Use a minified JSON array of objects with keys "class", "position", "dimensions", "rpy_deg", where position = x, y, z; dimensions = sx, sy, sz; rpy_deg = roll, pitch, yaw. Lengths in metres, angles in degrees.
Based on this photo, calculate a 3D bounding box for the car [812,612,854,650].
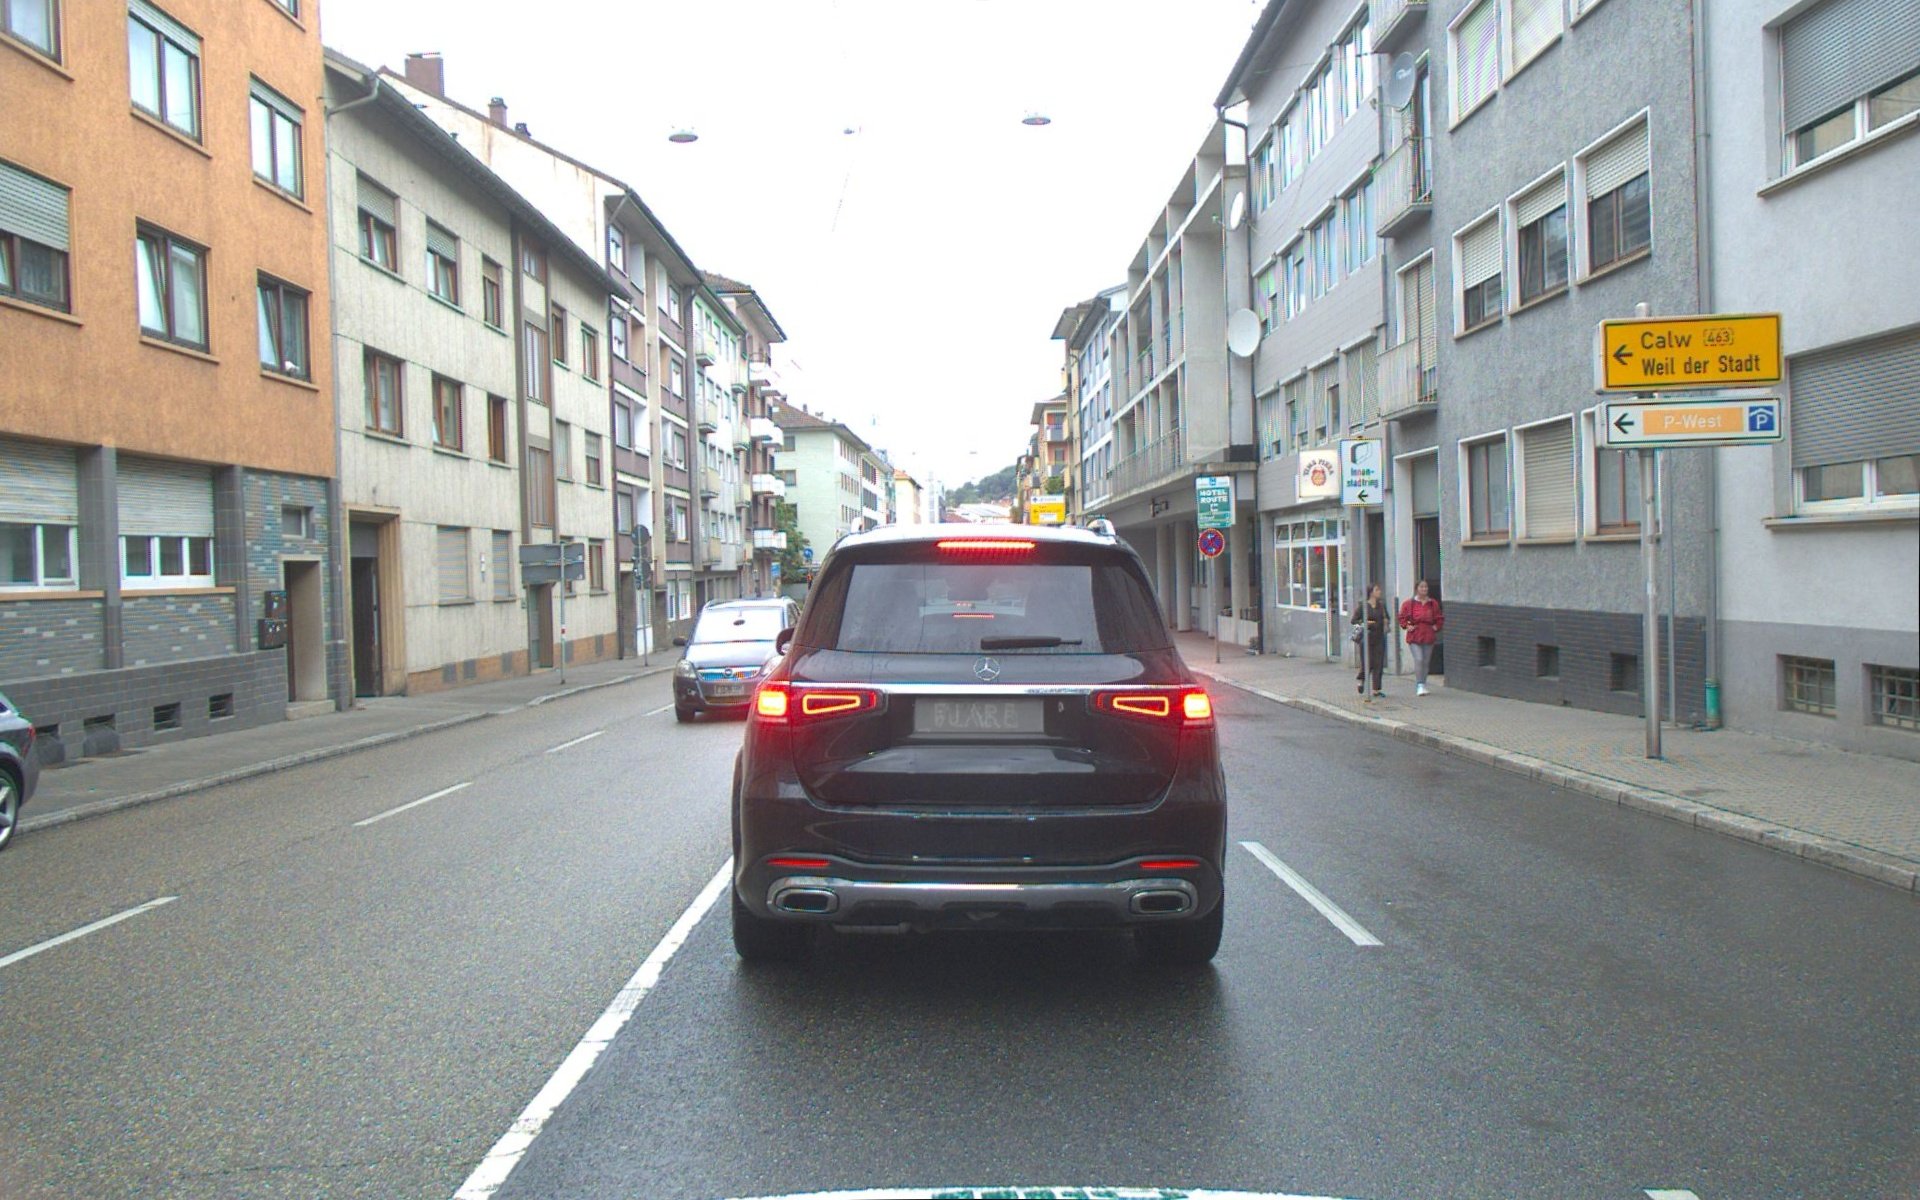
[{"class":"car","position":[-5.876,1.428,76.716],"dimensions":[1.615,1.603,4.124],"rpy_deg":[-3,0,-1]}]

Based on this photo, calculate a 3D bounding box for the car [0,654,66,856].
[{"class":"car","position":[-7.962,1.159,10.880],"dimensions":[1.759,1.463,4.525],"rpy_deg":[1,0,-1]}]

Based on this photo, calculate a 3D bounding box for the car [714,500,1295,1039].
[{"class":"car","position":[0.115,0.587,7.736],"dimensions":[1.984,1.837,3.999],"rpy_deg":[1,0,-1]}]

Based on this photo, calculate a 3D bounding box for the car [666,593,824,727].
[{"class":"car","position":[-2.970,0.779,23.571],"dimensions":[1.698,1.602,4.010],"rpy_deg":[-5,0,-1]}]

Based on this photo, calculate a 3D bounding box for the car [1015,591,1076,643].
[{"class":"car","position":[3.062,0.591,60.185],"dimensions":[1.901,1.806,4.745],"rpy_deg":[0,0,-1]}]

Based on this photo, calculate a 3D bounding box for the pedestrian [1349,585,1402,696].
[{"class":"pedestrian","position":[5.896,0.567,23.488],"dimensions":[0.496,1.526,0.562],"rpy_deg":[-4,0,-2]}]

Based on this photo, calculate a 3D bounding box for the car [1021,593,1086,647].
[{"class":"car","position":[2.909,0.604,52.128],"dimensions":[1.731,1.608,3.999],"rpy_deg":[0,0,-1]}]

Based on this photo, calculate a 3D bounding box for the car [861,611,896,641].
[{"class":"car","position":[-4.279,1.349,86.966],"dimensions":[1.615,1.464,4.124],"rpy_deg":[-3,0,-1]}]

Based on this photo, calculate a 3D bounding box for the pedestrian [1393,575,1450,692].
[{"class":"pedestrian","position":[6.572,0.470,23.556],"dimensions":[0.549,1.606,0.526],"rpy_deg":[-4,0,-2]}]
